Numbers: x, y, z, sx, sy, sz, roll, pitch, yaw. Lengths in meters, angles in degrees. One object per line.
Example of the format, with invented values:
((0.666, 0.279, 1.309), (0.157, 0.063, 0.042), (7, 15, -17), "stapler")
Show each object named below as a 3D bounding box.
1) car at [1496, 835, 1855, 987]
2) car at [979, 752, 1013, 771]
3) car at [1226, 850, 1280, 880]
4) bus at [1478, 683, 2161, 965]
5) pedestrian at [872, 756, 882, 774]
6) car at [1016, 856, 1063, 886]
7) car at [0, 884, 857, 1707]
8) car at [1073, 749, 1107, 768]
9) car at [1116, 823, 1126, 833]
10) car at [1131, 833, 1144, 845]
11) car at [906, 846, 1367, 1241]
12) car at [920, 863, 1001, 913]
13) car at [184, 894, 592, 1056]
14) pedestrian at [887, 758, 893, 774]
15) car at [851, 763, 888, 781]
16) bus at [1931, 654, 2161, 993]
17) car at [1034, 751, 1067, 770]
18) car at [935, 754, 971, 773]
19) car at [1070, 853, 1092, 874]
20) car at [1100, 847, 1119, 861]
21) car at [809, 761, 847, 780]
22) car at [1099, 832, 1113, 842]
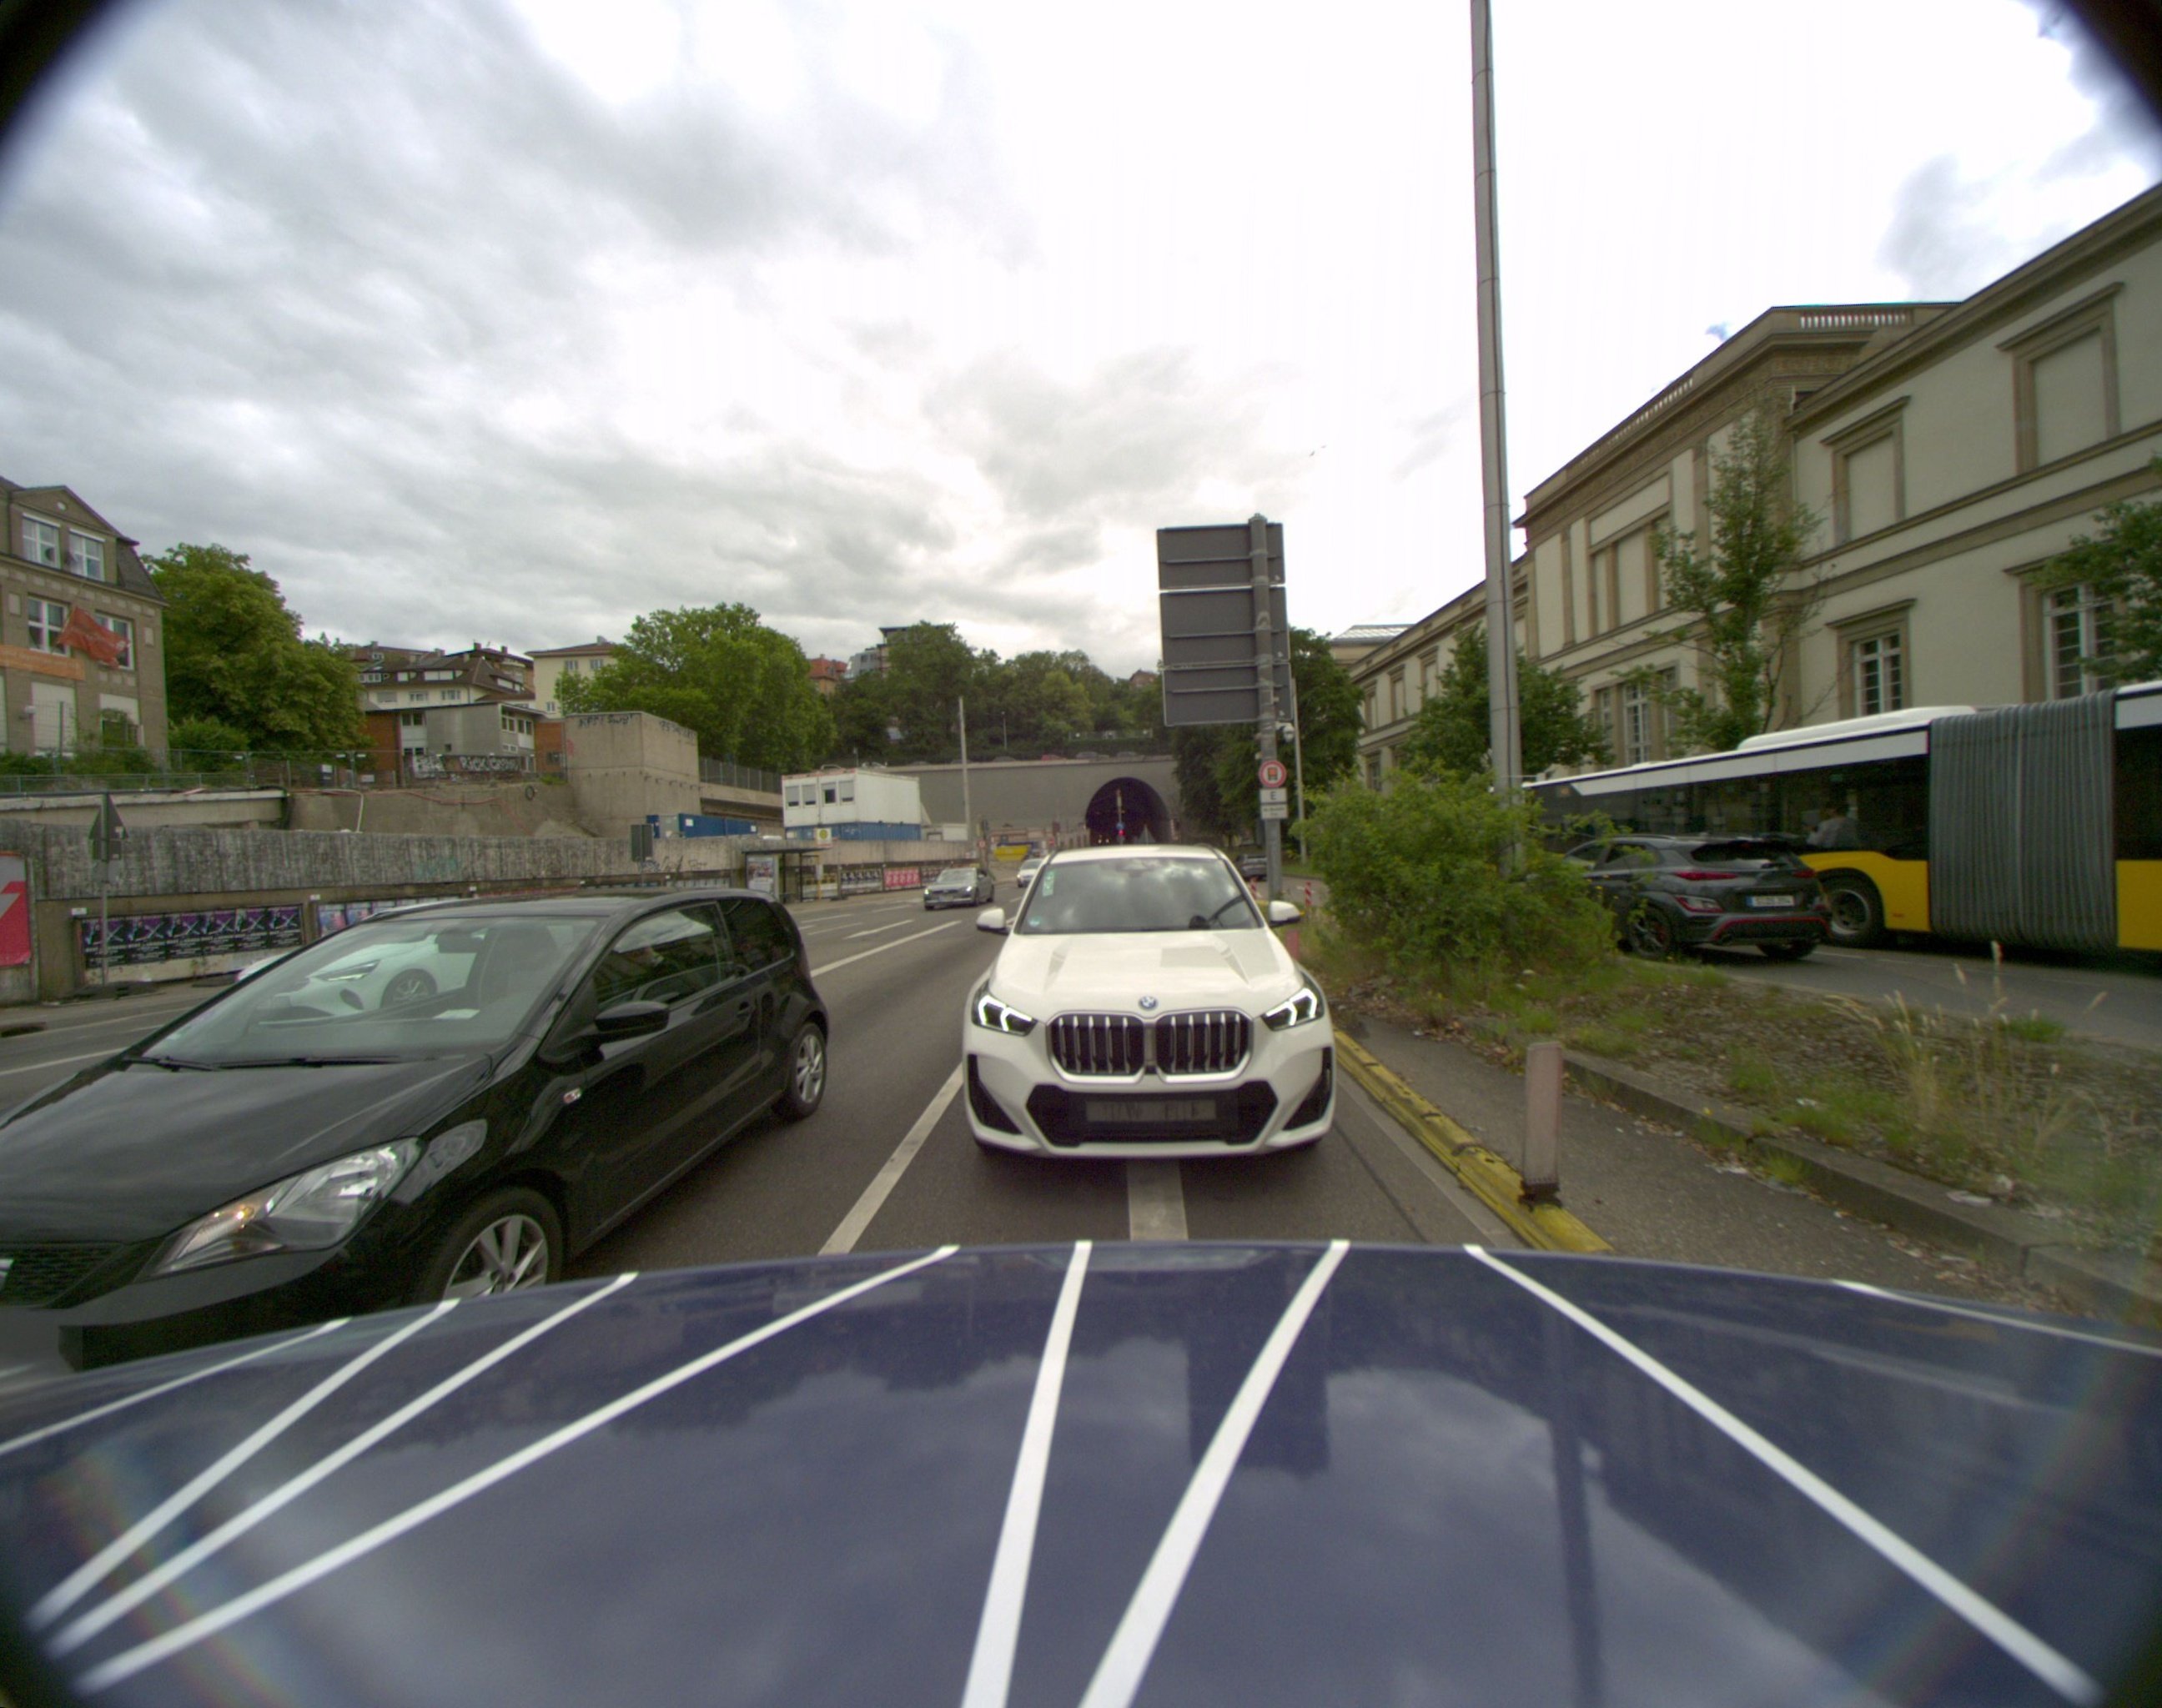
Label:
((7.544, 0.613, 10.215), (1.701, 1.580, 3.882), (-3, 0, -1), "car")
((-10.485, -11.394, 94.005), (3.998, 2.002, 1.999), (-2, 1, -2), "car")
((9.097, 0.550, 40.533), (1.711, 1.505, 4.287), (0, 0, -3), "car")
((11.201, -0.356, 13.494), (2.853, 3.096, 9.746), (-3, 0, -2), "bus")
((-24.365, -10.671, 90.645), (0.851, 2.002, 0.905), (-3, 1, -3), "pedestrian")
((-2.415, 0.966, 45.357), (1.703, 1.550, 4.554), (-3, 0, 11), "car")
((-2.507, 1.002, 3.408), (1.667, 1.487, 3.882), (-3, 0, 2), "car")
((1.099, -11.823, 94.484), (3.998, 2.002, 1.999), (-2, 1, -2), "car")
((6.936, -4.478, 132.627), (1.667, 1.582, 3.882), (-1, 0, 2), "car")
((7.665, -2.021, 103.597), (1.667, 1.582, 3.882), (-1, 0, 2), "car")
((0.293, 0.797, 5.118), (1.848, 1.581, 3.882), (-3, 0, 2), "car")
((-4.380, 1.198, 28.430), (1.825, 1.562, 4.655), (-3, 0, 5), "car")
((-8.877, 1.435, 10.315), (1.663, 1.471, 4.000), (-3, 0, 3), "car")
((-23.912, -11.051, 95.278), (0.581, 2.002, 0.577), (-2, 1, -3), "pedestrian")
((-26.016, -10.064, 93.371), (3.998, 2.002, 1.999), (-2, 1, -5), "car")
((11.348, -0.333, 4.243), (2.853, 3.096, 9.121), (-3, 0, -1), "bus")
((-3.779, -11.644, 94.400), (3.998, 2.002, 1.999), (-2, 1, -2), "car")
((-15.804, -11.198, 93.894), (3.998, 2.002, 1.999), (-2, 1, -2), "car")
((0.017, 0.764, 61.615), (1.705, 1.550, 4.550), (-3, 0, 1), "car")
((2.853, 0.008, 76.943), (1.728, 1.310, 4.000), (-3, 0, 1), "car")
((-31.065, -10.251, 93.307), (3.998, 2.002, 1.999), (-2, 1, -5), "car")
((3.712, -2.520, 112.544), (1.730, 1.435, 4.001), (-3, 0, 5), "car")
